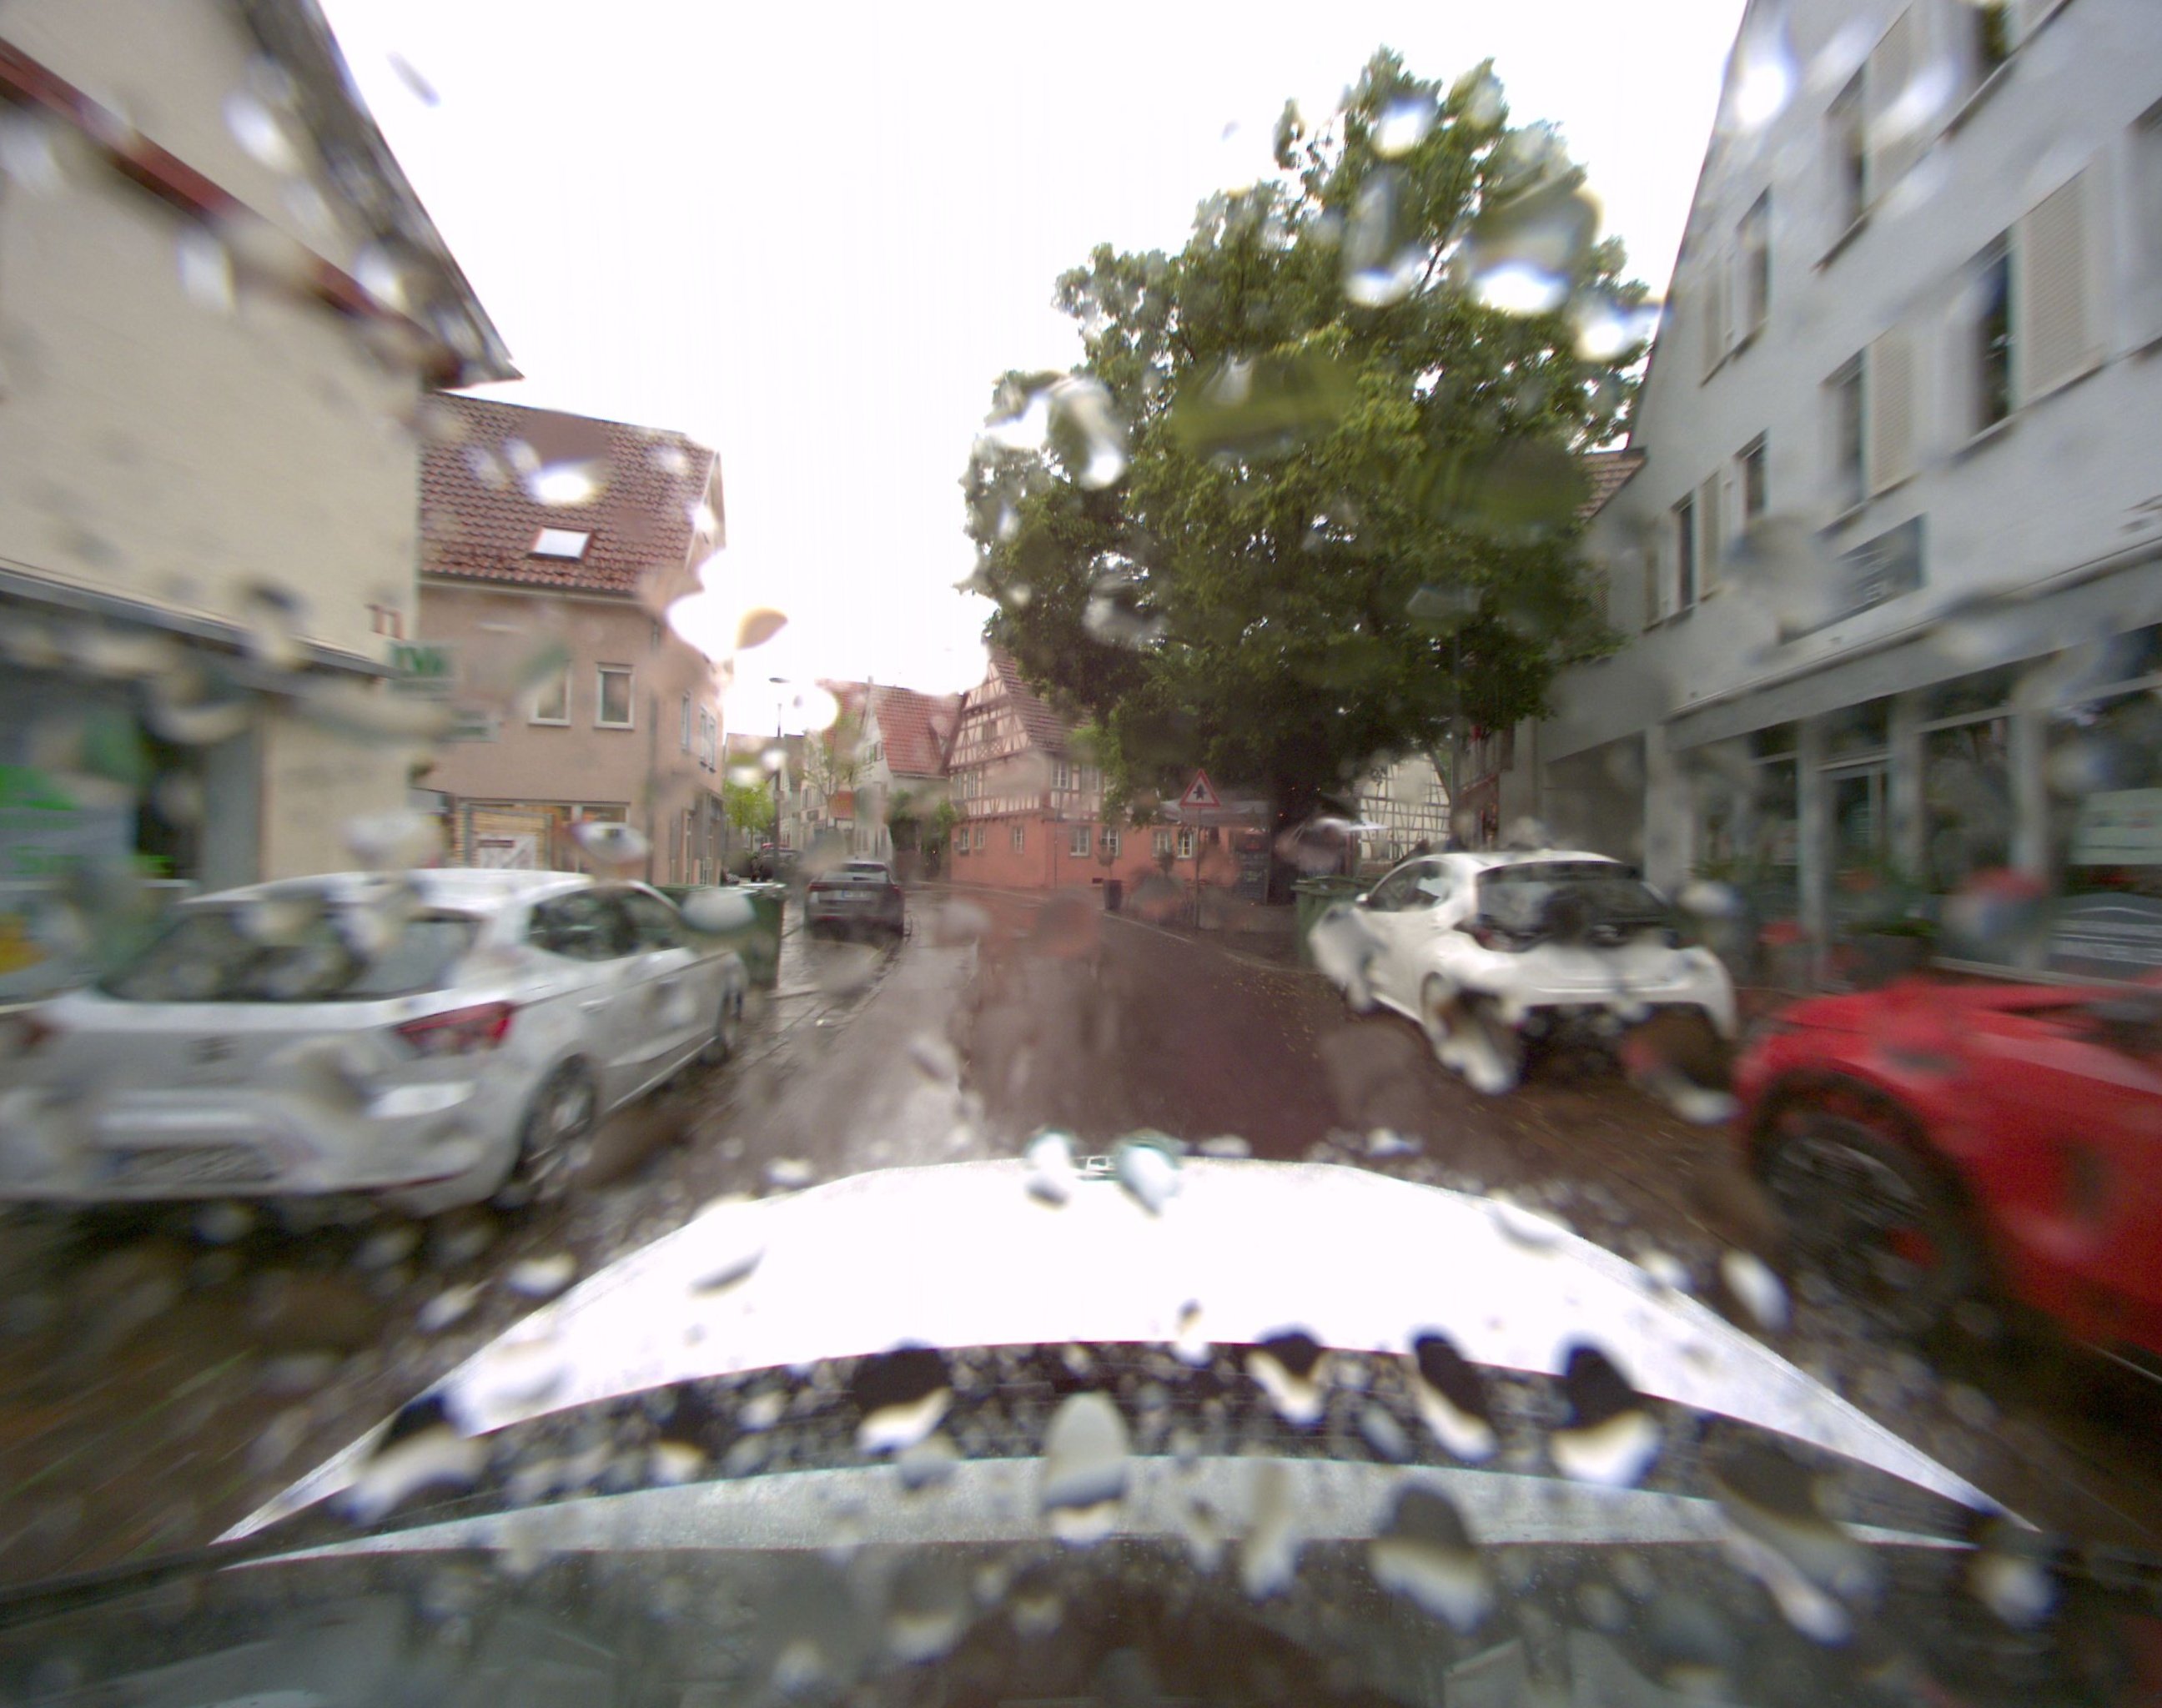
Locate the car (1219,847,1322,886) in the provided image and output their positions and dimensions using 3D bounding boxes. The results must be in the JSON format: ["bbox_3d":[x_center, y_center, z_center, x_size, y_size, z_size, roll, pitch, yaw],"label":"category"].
[{"bbox_3d":[8.728,0.523,37.393,4.633,1.633,1.980,0,2,-33],"label":"car"}]

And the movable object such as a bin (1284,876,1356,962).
[{"bbox_3d":[3.129,0.838,10.680,0.725,1.083,0.603,1,-2,-8],"label":"movable object such as a bin"}]

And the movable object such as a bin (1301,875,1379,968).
[{"bbox_3d":[3.172,0.816,10.013,0.725,1.093,0.609,1,-2,-8],"label":"movable object such as a bin"}]

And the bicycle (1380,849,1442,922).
[{"bbox_3d":[6.601,0.601,16.402,0.917,1.350,2.225,-1,-1,17],"label":"bicycle"}]

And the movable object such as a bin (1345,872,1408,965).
[{"bbox_3d":[3.843,0.819,10.627,0.536,1.142,0.727,-1,0,-2],"label":"movable object such as a bin"}]

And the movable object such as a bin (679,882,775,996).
[{"bbox_3d":[-3.741,0.877,8.656,0.680,1.136,0.719,1,-1,0],"label":"movable object such as a bin"}]

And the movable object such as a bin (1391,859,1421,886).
[{"bbox_3d":[13.666,0.784,34.249,0.882,1.111,0.848,2,-3,-33],"label":"movable object such as a bin"}]

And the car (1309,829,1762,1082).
[{"bbox_3d":[3.351,0.641,6.999,1.781,1.555,3.951,0,0,1],"label":"car"}]

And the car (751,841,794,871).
[{"bbox_3d":[-20.920,0.114,55.175,1.907,1.811,3.960,3,-1,-32],"label":"car"}]

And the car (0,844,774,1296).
[{"bbox_3d":[-3.266,0.699,4.753,1.848,1.452,4.062,1,1,-8],"label":"car"}]

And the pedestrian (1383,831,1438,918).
[{"bbox_3d":[6.617,0.416,16.400,0.903,1.698,0.865,-1,-2,16],"label":"pedestrian"}]

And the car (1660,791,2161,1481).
[{"bbox_3d":[3.187,0.600,1.319,1.781,1.469,3.950,1,-2,2],"label":"car"}]

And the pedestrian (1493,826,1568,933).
[{"bbox_3d":[7.487,0.422,13.620,0.879,1.713,0.892,0,-2,13],"label":"pedestrian"}]

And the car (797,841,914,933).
[{"bbox_3d":[-4.274,0.608,15.900,1.877,1.540,4.380,1,-1,-13],"label":"car"}]

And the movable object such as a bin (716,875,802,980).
[{"bbox_3d":[-3.716,0.832,9.448,0.698,1.143,0.719,1,0,-1],"label":"movable object such as a bin"}]

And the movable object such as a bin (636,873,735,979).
[{"bbox_3d":[-4.504,0.802,9.320,0.698,1.122,0.718,3,-2,-1],"label":"movable object such as a bin"}]

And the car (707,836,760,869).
[{"bbox_3d":[-19.193,-0.017,44.871,1.837,1.666,4.594,2,-2,-33],"label":"car"}]
